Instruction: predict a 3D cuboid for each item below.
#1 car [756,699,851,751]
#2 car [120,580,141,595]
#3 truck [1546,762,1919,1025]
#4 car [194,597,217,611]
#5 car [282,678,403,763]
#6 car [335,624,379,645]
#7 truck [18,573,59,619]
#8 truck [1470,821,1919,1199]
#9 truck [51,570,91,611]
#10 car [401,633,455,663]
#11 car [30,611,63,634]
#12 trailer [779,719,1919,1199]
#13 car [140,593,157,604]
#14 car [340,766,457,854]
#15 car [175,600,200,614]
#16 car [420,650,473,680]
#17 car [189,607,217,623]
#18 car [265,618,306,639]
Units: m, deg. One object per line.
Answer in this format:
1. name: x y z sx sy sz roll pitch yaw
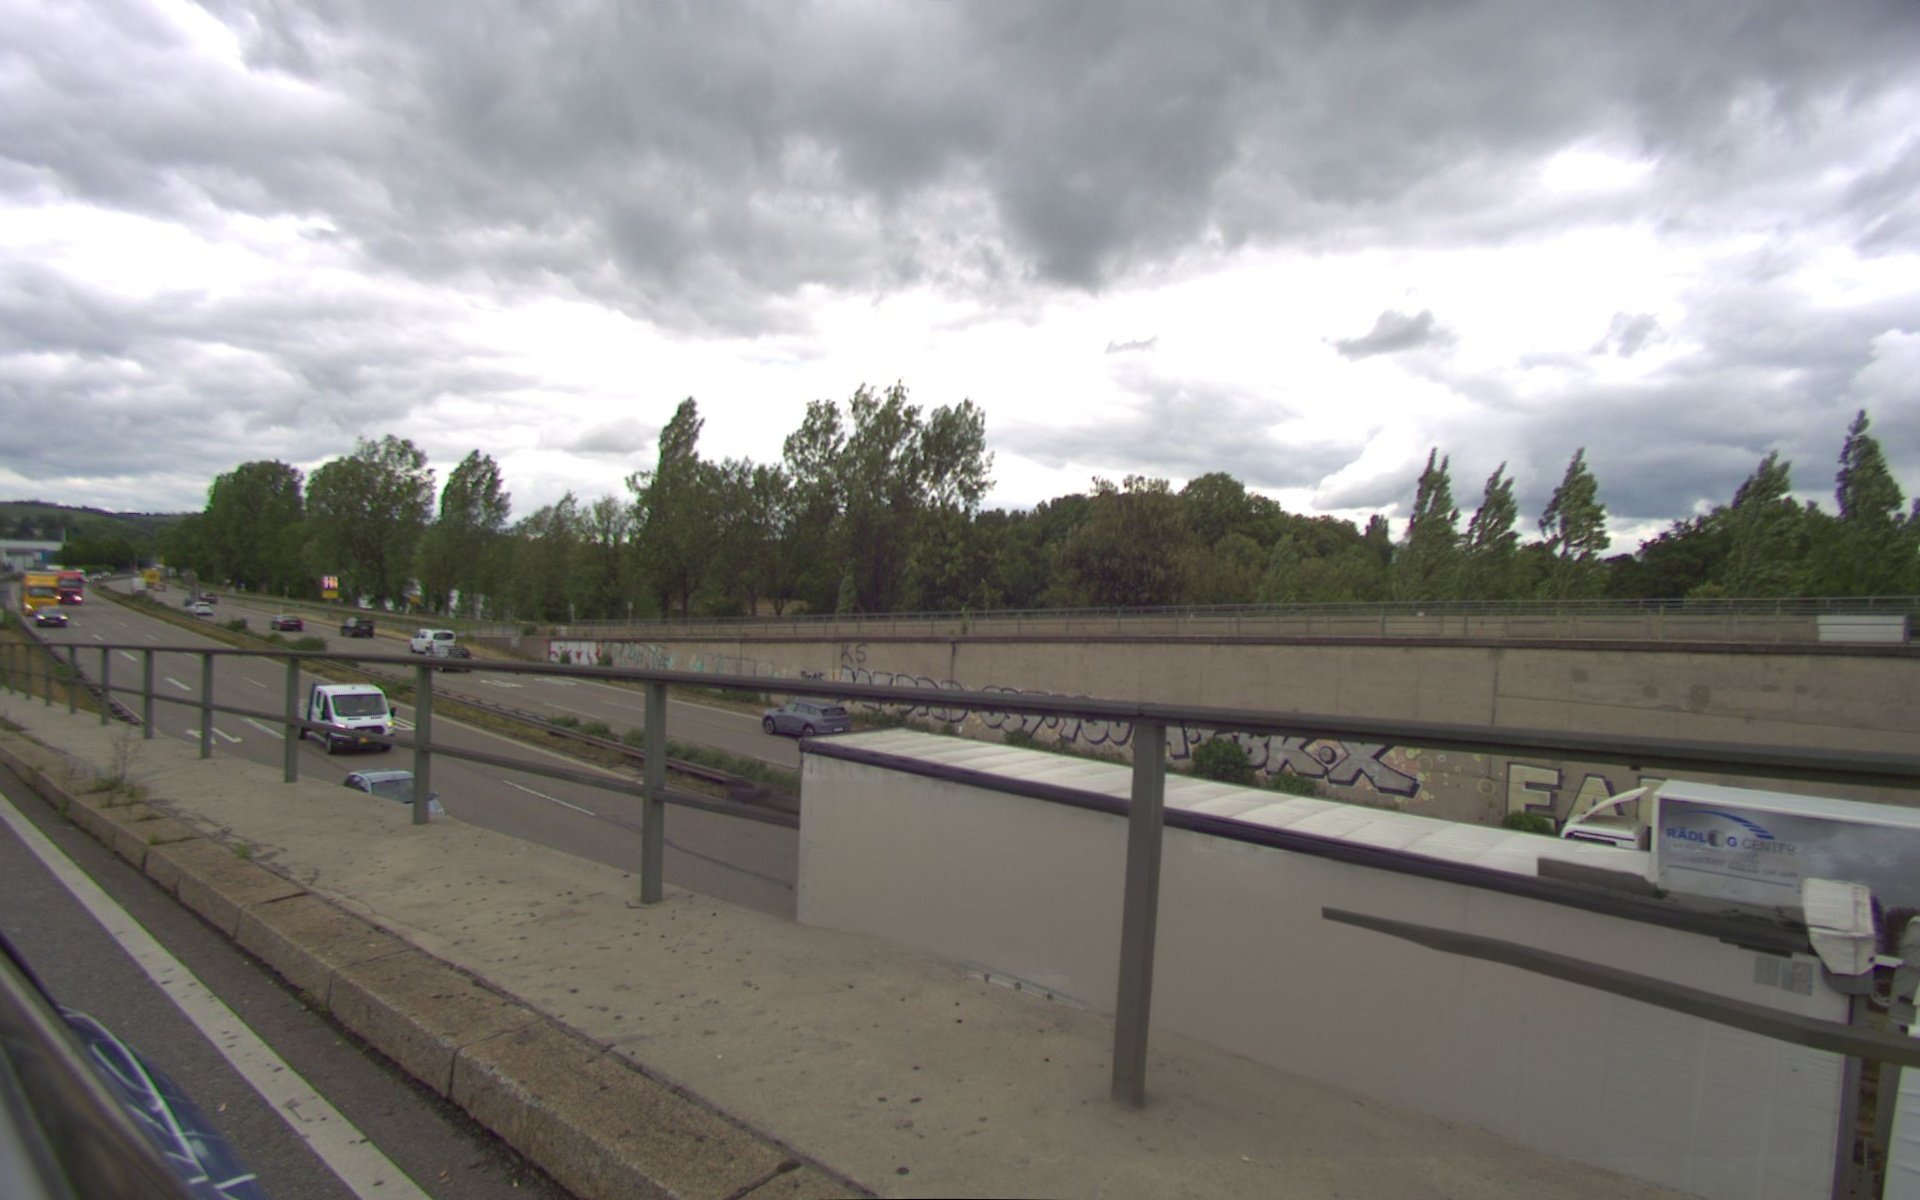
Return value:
1. car: -6.811 5.368 43.932 4.254 1.682 1.693 3 0 41
2. car: -156.773 -2.457 191.302 6.101 2.613 2.144 3 0 42
3. truck: 16.095 5.510 19.309 8.126 3.487 2.487 3 0 41
4. car: -107.474 0.570 144.101 4.636 1.664 1.838 3 0 45
5. car: -22.861 4.323 37.334 6.502 2.259 2.076 3 0 43
6. car: -53.769 3.045 90.168 4.577 1.638 1.973 2 -1 41
7. truck: -91.627 -0.454 100.567 8.175 4.153 2.382 3 0 44
8. truck: 8.213 4.777 9.074 5.874 4.140 2.971 3 0 42
9. truck: -110.475 -1.233 125.748 9.922 4.774 2.717 2 -2 44
10. car: -40.031 3.564 76.101 4.908 1.921 1.927 2 0 41
11. car: -77.457 1.904 85.758 4.002 1.679 1.786 3 0 44
12. trailer: 3.226 4.528 13.544 13.986 4.140 2.971 3 0 42
13. car: -124.513 -0.224 155.354 1.694 1.464 3.654 2 1 -44
14. car: -13.985 5.137 25.130 3.538 1.383 1.492 3 0 43
15. car: -101.007 0.900 132.343 4.183 1.731 1.861 3 0 43
16. car: -32.965 4.134 64.933 3.998 1.633 1.648 2 -1 41
17. car: -83.812 1.680 112.064 3.898 1.505 1.755 2 -1 43
18. car: -62.527 2.657 93.779 4.577 1.638 1.973 2 -1 41
